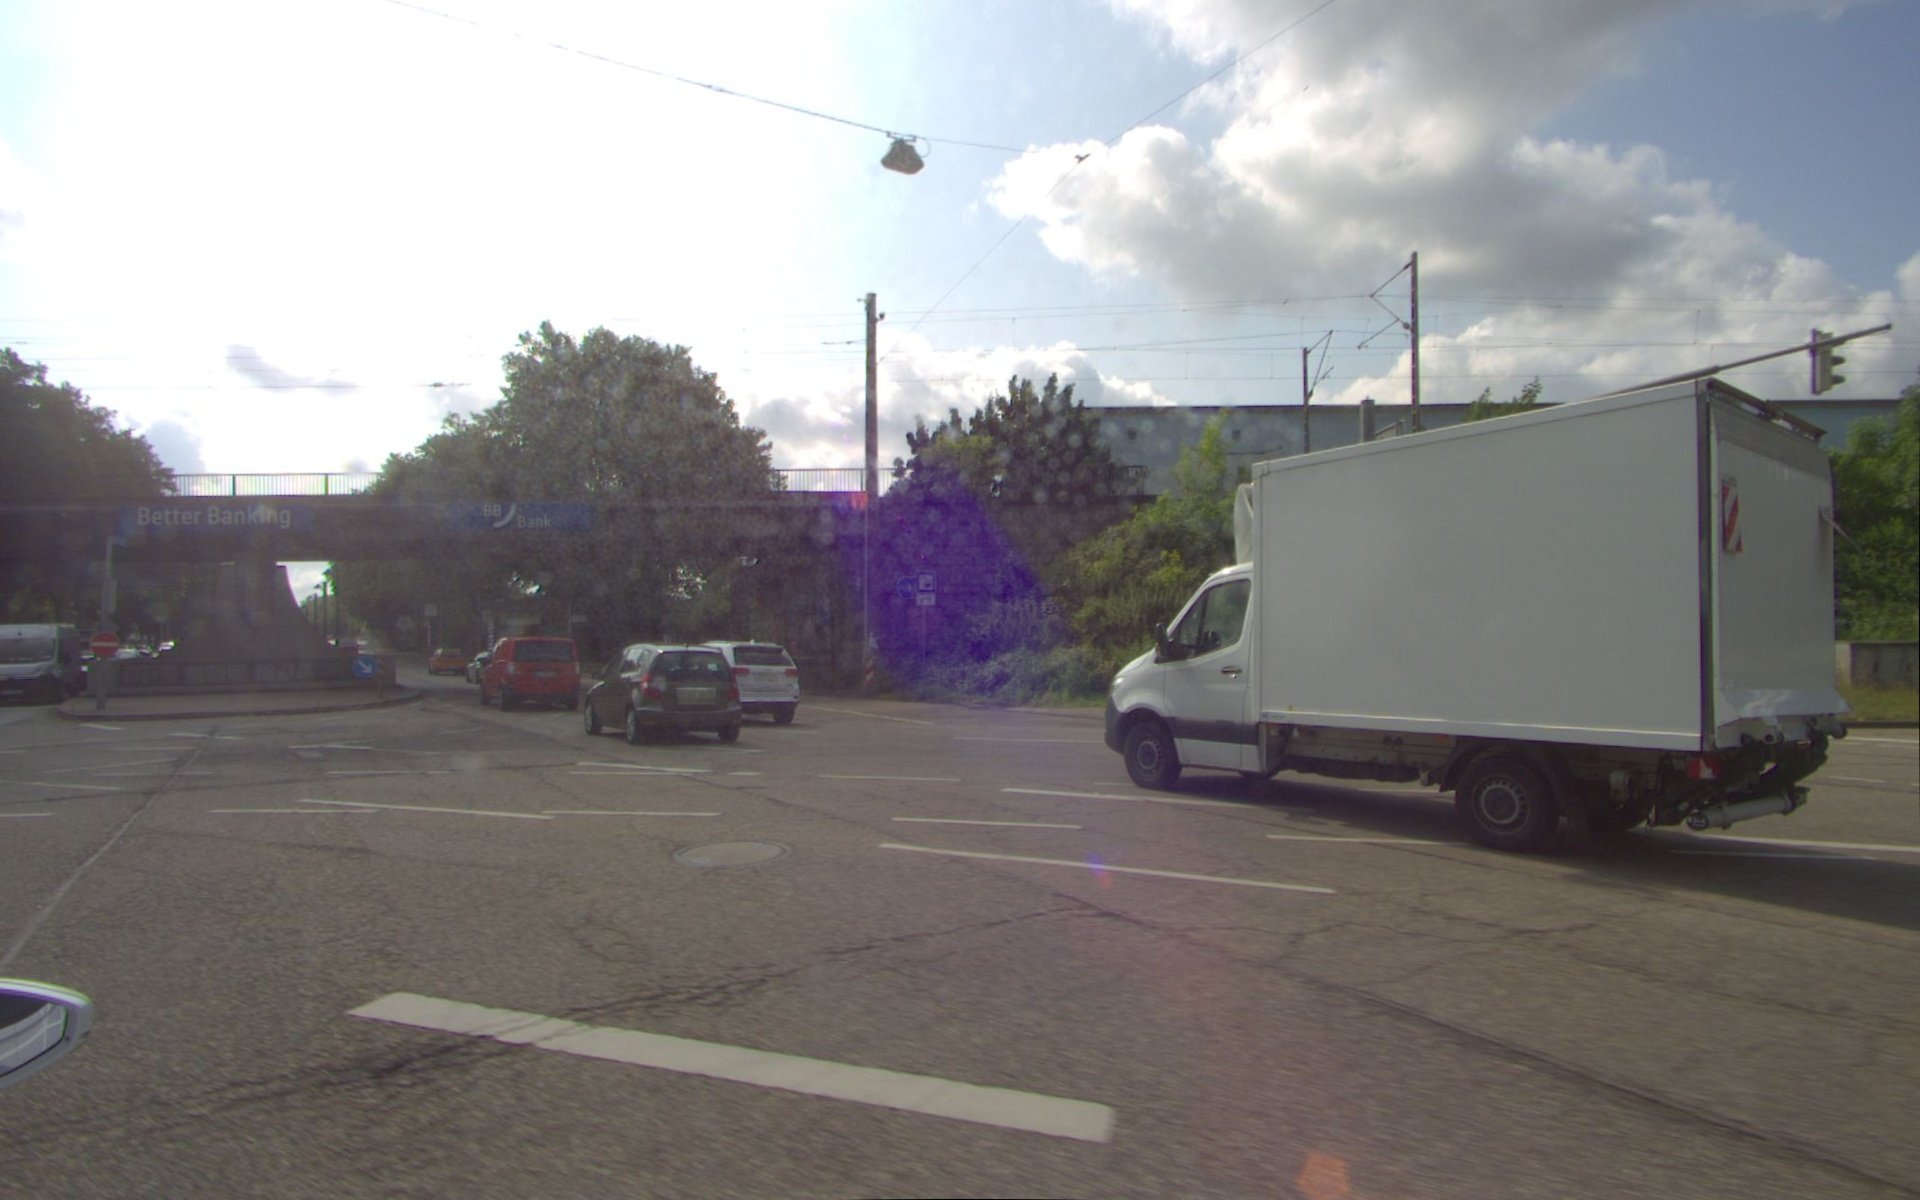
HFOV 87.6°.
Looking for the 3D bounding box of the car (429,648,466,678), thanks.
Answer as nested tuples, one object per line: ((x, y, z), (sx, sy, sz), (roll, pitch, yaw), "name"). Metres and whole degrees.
((-30.473, 3.720, 59.449), (1.756, 1.578, 3.981), (-2, -1, -30), "car")

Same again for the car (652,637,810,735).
((-5.230, 1.844, 22.381), (1.975, 1.925, 4.482), (0, -3, -34), "car")

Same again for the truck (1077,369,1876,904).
((3.989, 0.347, 9.065), (2.425, 3.160, 5.987), (2, -3, -36), "truck")

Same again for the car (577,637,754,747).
((-5.053, 1.507, 16.889), (1.775, 1.628, 3.776), (3, -5, -34), "car")

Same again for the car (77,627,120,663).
((-70.570, 3.694, 82.089), (2.225, 2.613, 5.583), (-6, 2, -38), "car")

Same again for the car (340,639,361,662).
((-61.723, 5.120, 101.406), (1.780, 2.151, 3.745), (-2, -1, -32), "car")

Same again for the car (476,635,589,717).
((-11.696, 2.026, 27.215), (1.937, 2.041, 4.648), (3, -4, -34), "car")

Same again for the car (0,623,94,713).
((-29.718, 2.117, 31.923), (2.234, 2.560, 5.593), (-5, 1, -33), "car")
